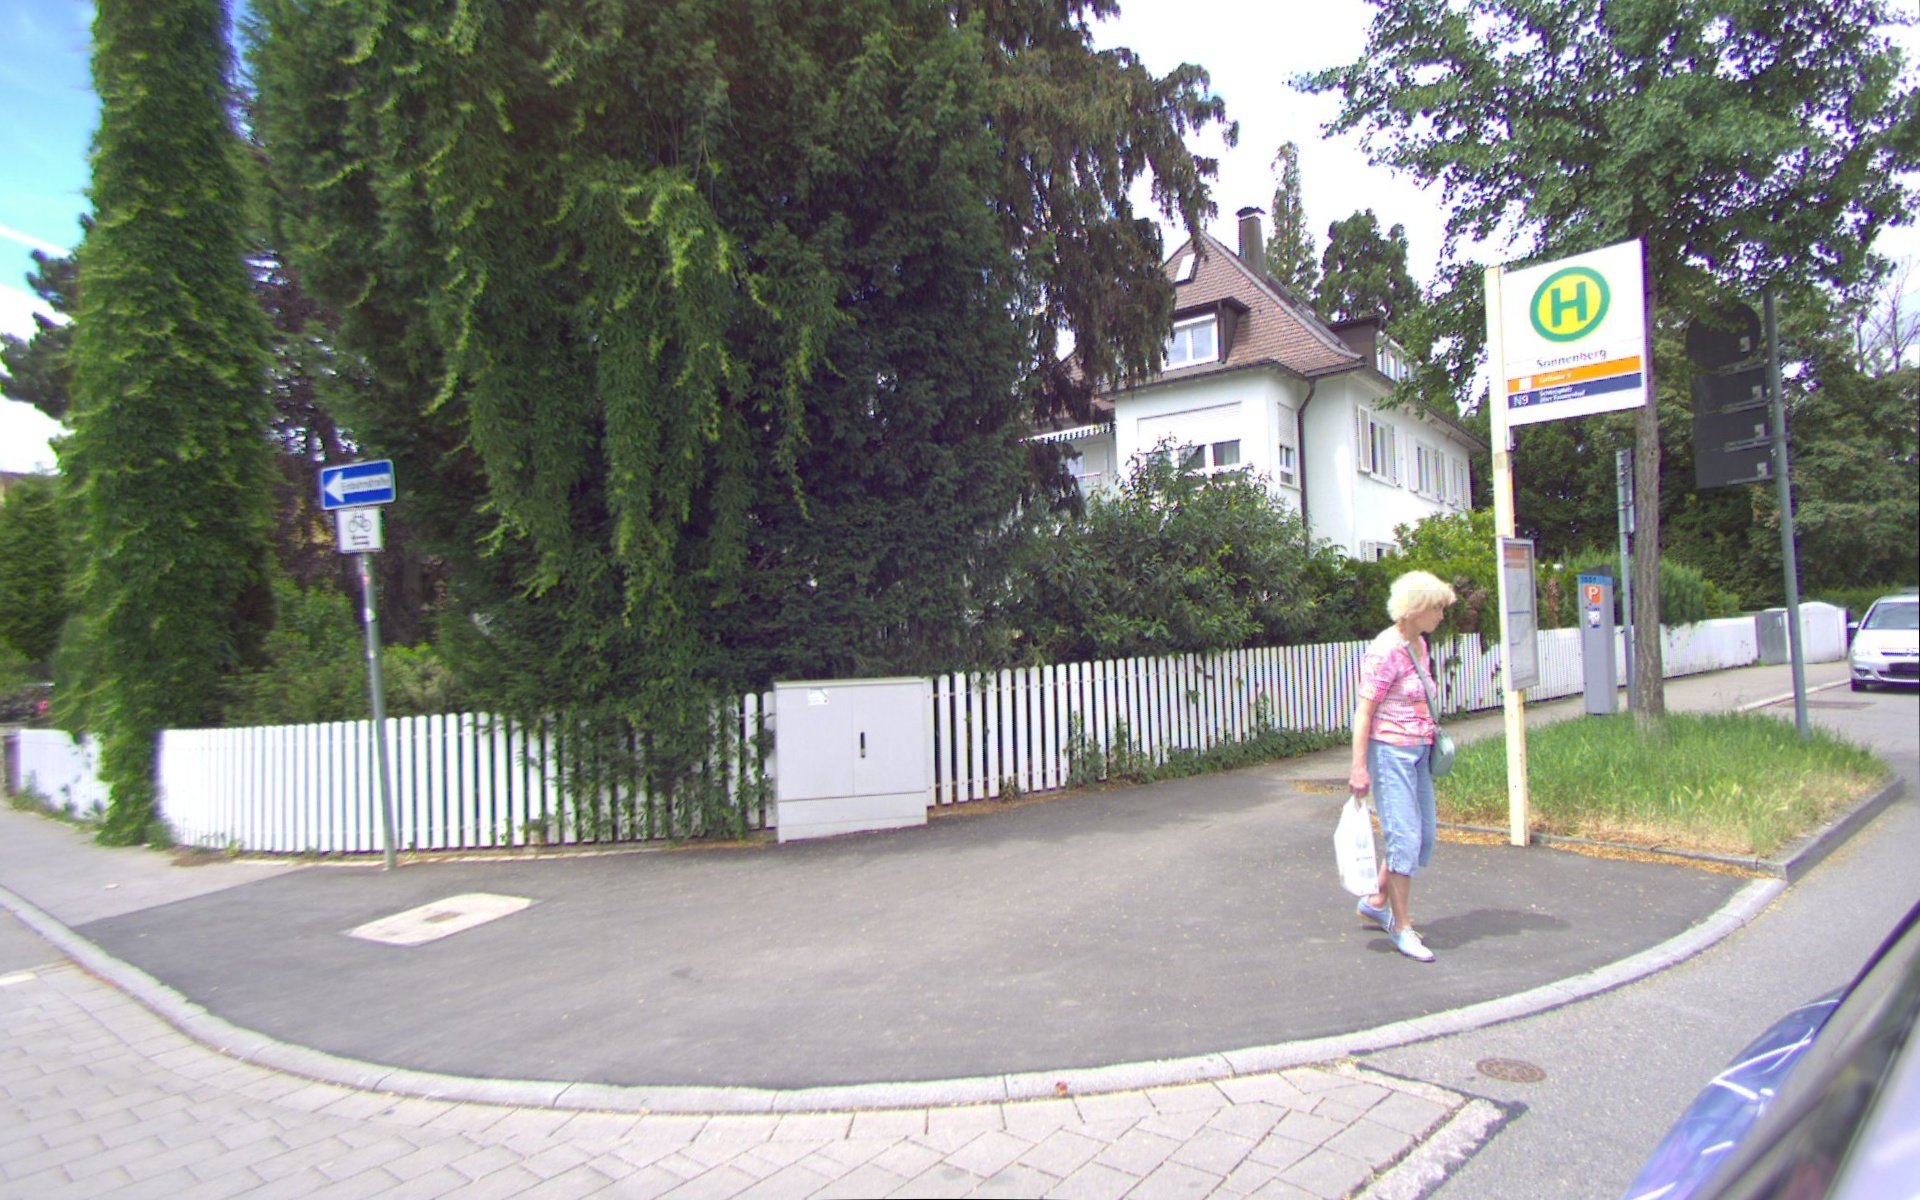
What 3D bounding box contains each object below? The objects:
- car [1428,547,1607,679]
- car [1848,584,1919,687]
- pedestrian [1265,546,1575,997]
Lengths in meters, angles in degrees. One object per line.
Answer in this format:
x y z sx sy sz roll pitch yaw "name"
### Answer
13.294 0.323 23.979 2.494 2.717 5.109 -6 -4 41 "car"
16.562 0.530 17.107 3.948 1.602 1.762 -1 0 -40 "car"
1.971 0.640 4.365 0.868 1.666 0.856 -1 -2 -39 "pedestrian"
